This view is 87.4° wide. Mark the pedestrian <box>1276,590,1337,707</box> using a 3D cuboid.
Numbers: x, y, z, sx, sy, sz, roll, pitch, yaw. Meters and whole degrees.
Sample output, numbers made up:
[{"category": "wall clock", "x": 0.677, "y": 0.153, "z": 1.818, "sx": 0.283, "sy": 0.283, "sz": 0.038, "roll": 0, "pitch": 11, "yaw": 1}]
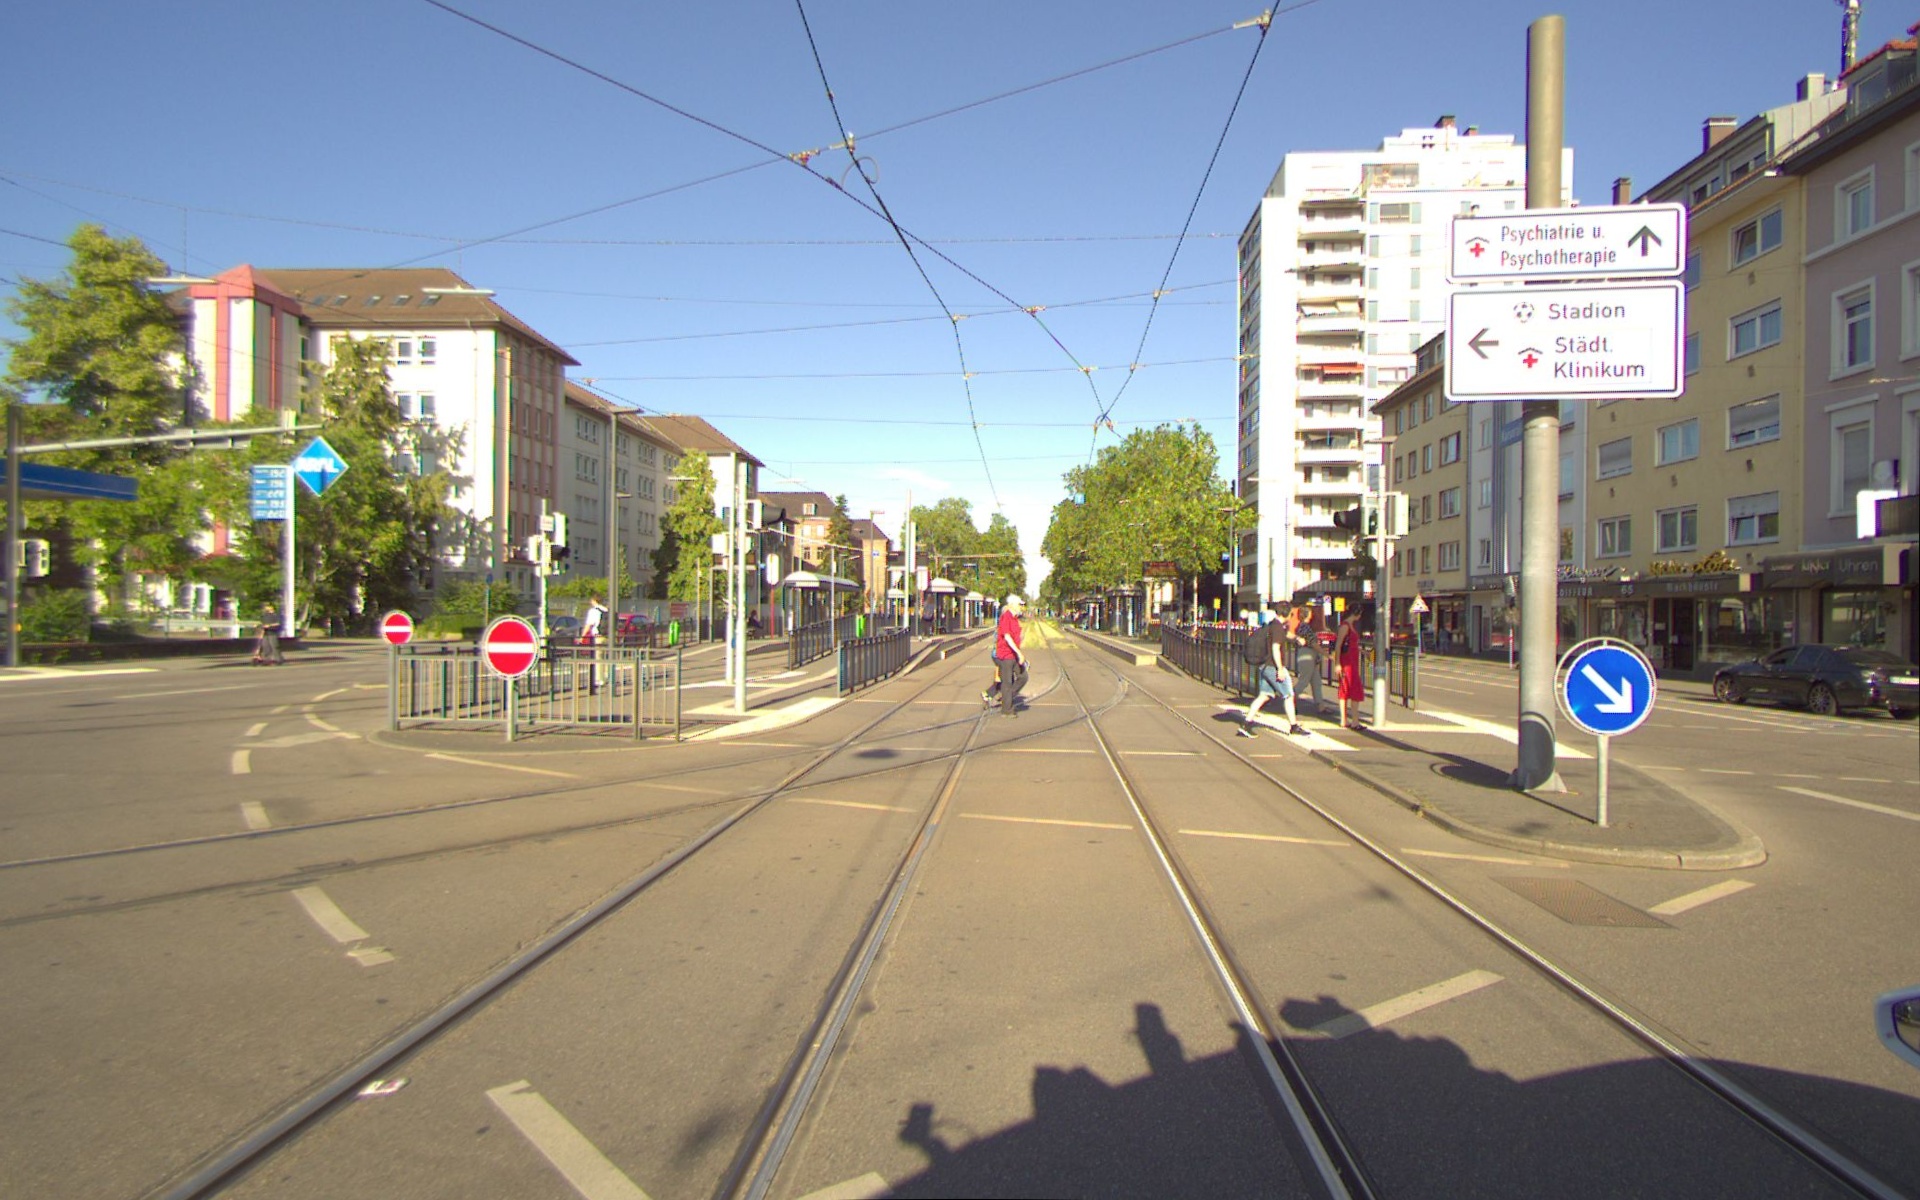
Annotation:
[{"category": "pedestrian", "x": 5.356, "y": 0.738, "z": 15.568, "sx": 0.807, "sy": 1.756, "sz": 0.789, "roll": 0, "pitch": 0, "yaw": 12}]

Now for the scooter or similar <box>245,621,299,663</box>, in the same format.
[{"category": "scooter or similar", "x": -20.222, "y": 1.217, "z": 29.556, "sx": 0.455, "sy": 1.198, "sz": 1.477, "roll": 0, "pitch": -1, "yaw": 5}]

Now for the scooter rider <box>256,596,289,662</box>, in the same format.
[{"category": "scooter rider", "x": -20.222, "y": 0.851, "z": 29.547, "sx": 0.455, "sy": 1.926, "sz": 0.692, "roll": 0, "pitch": -1, "yaw": 5}]

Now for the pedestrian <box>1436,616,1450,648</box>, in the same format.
[{"category": "pedestrian", "x": 24.033, "y": 1.584, "z": 49.980, "sx": 0.498, "sy": 1.583, "sz": 0.466, "roll": 1, "pitch": 0, "yaw": 7}]

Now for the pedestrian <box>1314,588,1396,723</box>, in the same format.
[{"category": "pedestrian", "x": 5.295, "y": 0.726, "z": 13.507, "sx": 0.887, "sy": 1.756, "sz": 0.841, "roll": 0, "pitch": 0, "yaw": 11}]

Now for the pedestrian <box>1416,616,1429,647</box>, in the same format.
[{"category": "pedestrian", "x": 25.031, "y": 1.676, "z": 54.339, "sx": 0.462, "sy": 1.666, "sz": 0.508, "roll": 1, "pitch": 0, "yaw": 6}]

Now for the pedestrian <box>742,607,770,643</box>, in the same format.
[{"category": "pedestrian", "x": -8.349, "y": 1.019, "z": 41.081, "sx": 1.024, "sy": 1.439, "sz": 0.578, "roll": 0, "pitch": -1, "yaw": -1}]

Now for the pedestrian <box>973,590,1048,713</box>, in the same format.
[{"category": "pedestrian", "x": 0.750, "y": 0.734, "z": 14.760, "sx": 0.832, "sy": 1.746, "sz": 0.824, "roll": 0, "pitch": 0, "yaw": 26}]

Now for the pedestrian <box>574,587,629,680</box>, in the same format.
[{"category": "pedestrian", "x": -6.866, "y": 0.633, "z": 19.277, "sx": 0.808, "sy": 1.756, "sz": 0.788, "roll": 0, "pitch": 0, "yaw": -5}]

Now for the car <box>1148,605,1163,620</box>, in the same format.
[{"category": "car", "x": 26.605, "y": 1.737, "z": 136.879, "sx": 1.959, "sy": 2.040, "sz": 4.003, "roll": 1, "pitch": -1, "yaw": 10}]

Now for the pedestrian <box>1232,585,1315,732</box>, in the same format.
[{"category": "pedestrian", "x": 3.867, "y": 0.709, "z": 12.419, "sx": 0.786, "sy": 1.756, "sz": 0.653, "roll": 0, "pitch": 0, "yaw": -5}]

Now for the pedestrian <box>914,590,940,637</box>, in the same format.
[{"category": "pedestrian", "x": -1.124, "y": 0.461, "z": 34.189, "sx": 0.584, "sy": 1.589, "sz": 0.731, "roll": 1, "pitch": 0, "yaw": 25}]

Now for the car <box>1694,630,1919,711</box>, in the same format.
[{"category": "car", "x": 18.322, "y": 1.429, "z": 21.638, "sx": 1.710, "sy": 1.459, "sz": 4.656, "roll": 1, "pitch": -1, "yaw": 2}]

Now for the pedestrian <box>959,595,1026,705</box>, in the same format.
[{"category": "pedestrian", "x": 0.521, "y": 0.763, "z": 15.782, "sx": 0.792, "sy": 1.652, "sz": 0.865, "roll": 0, "pitch": 0, "yaw": 21}]

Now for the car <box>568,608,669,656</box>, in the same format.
[{"category": "car", "x": -11.322, "y": 1.033, "z": 33.588, "sx": 1.683, "sy": 1.506, "sz": 4.221, "roll": 0, "pitch": -1, "yaw": 4}]

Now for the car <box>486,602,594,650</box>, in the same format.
[{"category": "car", "x": -14.285, "y": 0.855, "z": 34.430, "sx": 1.707, "sy": 1.539, "sz": 4.002, "roll": 0, "pitch": -1, "yaw": 5}]

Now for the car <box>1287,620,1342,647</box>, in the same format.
[{"category": "car", "x": 20.612, "y": 1.913, "z": 58.548, "sx": 1.903, "sy": 1.449, "sz": 4.001, "roll": 1, "pitch": -1, "yaw": 2}]
